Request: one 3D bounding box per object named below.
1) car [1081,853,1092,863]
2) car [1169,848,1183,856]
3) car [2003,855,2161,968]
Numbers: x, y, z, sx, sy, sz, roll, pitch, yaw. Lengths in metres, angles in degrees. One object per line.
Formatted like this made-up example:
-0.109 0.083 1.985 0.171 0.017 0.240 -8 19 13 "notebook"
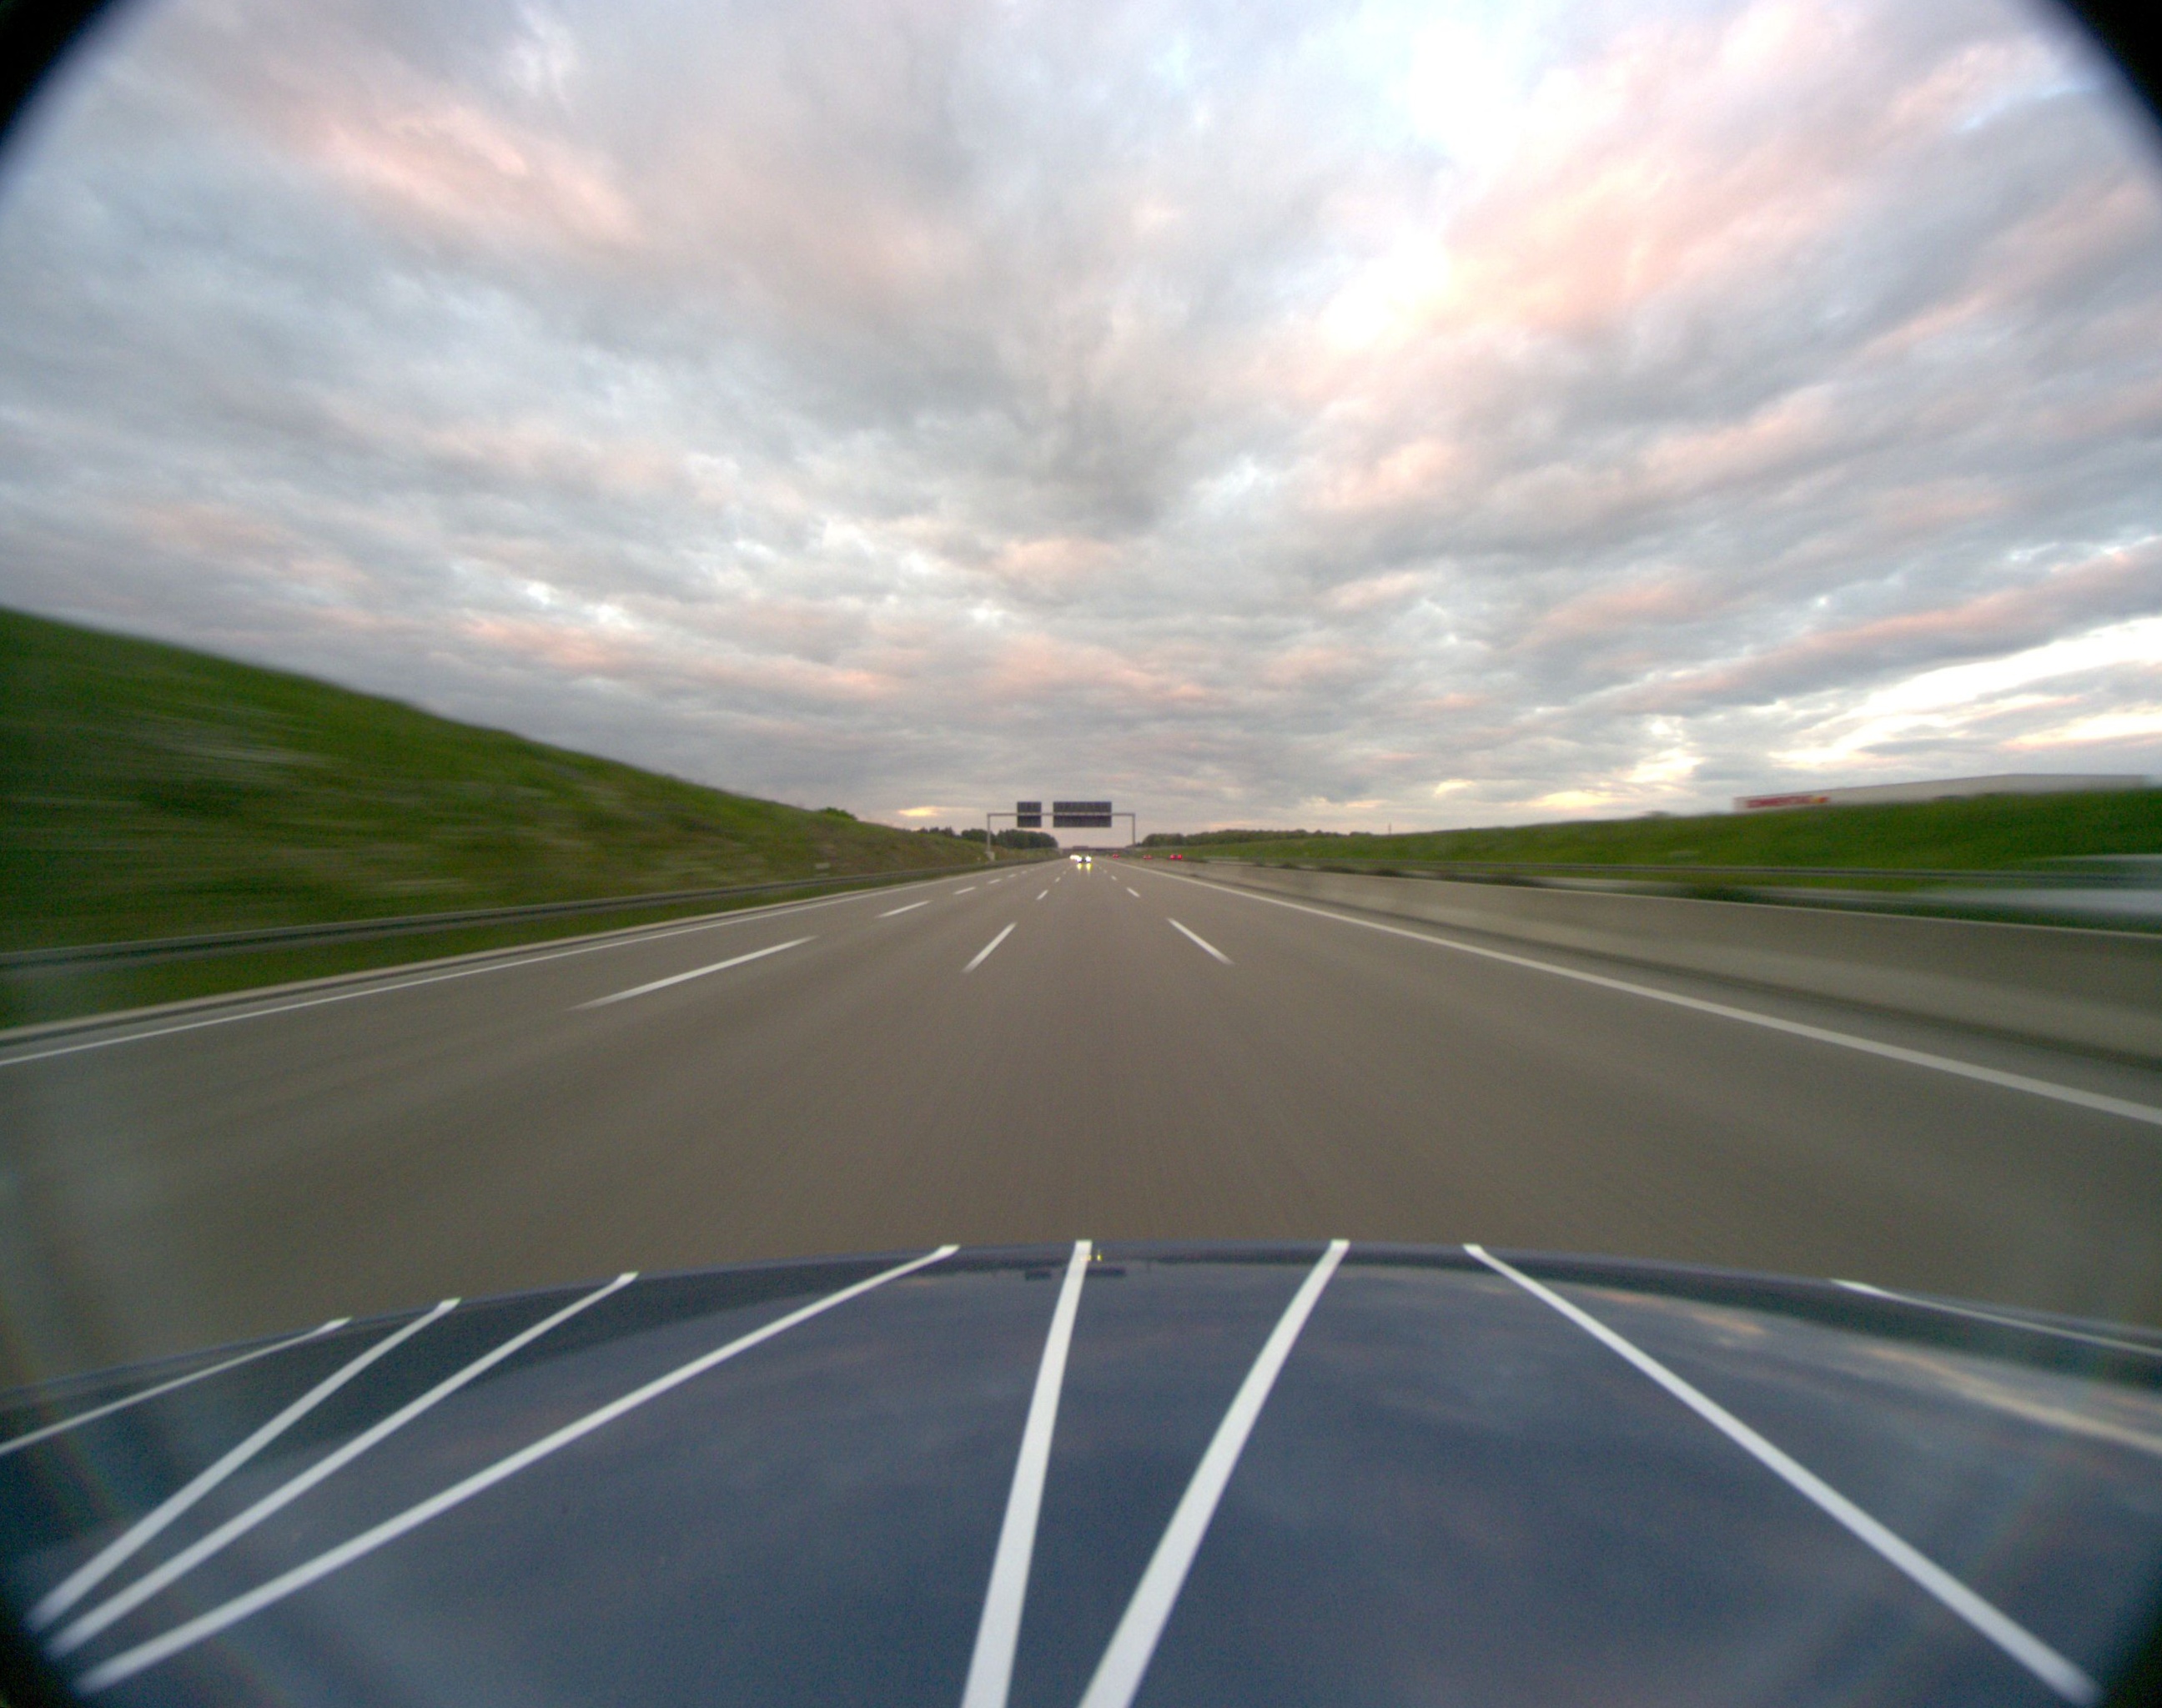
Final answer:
1.003 0.641 128.112 1.801 1.674 4.384 -1 1 0 "car"
19.704 -0.364 157.681 1.999 1.593 5.199 -1 0 -1 "car"
15.355 0.784 9.815 1.526 1.498 4.409 -1 0 0 "car"
